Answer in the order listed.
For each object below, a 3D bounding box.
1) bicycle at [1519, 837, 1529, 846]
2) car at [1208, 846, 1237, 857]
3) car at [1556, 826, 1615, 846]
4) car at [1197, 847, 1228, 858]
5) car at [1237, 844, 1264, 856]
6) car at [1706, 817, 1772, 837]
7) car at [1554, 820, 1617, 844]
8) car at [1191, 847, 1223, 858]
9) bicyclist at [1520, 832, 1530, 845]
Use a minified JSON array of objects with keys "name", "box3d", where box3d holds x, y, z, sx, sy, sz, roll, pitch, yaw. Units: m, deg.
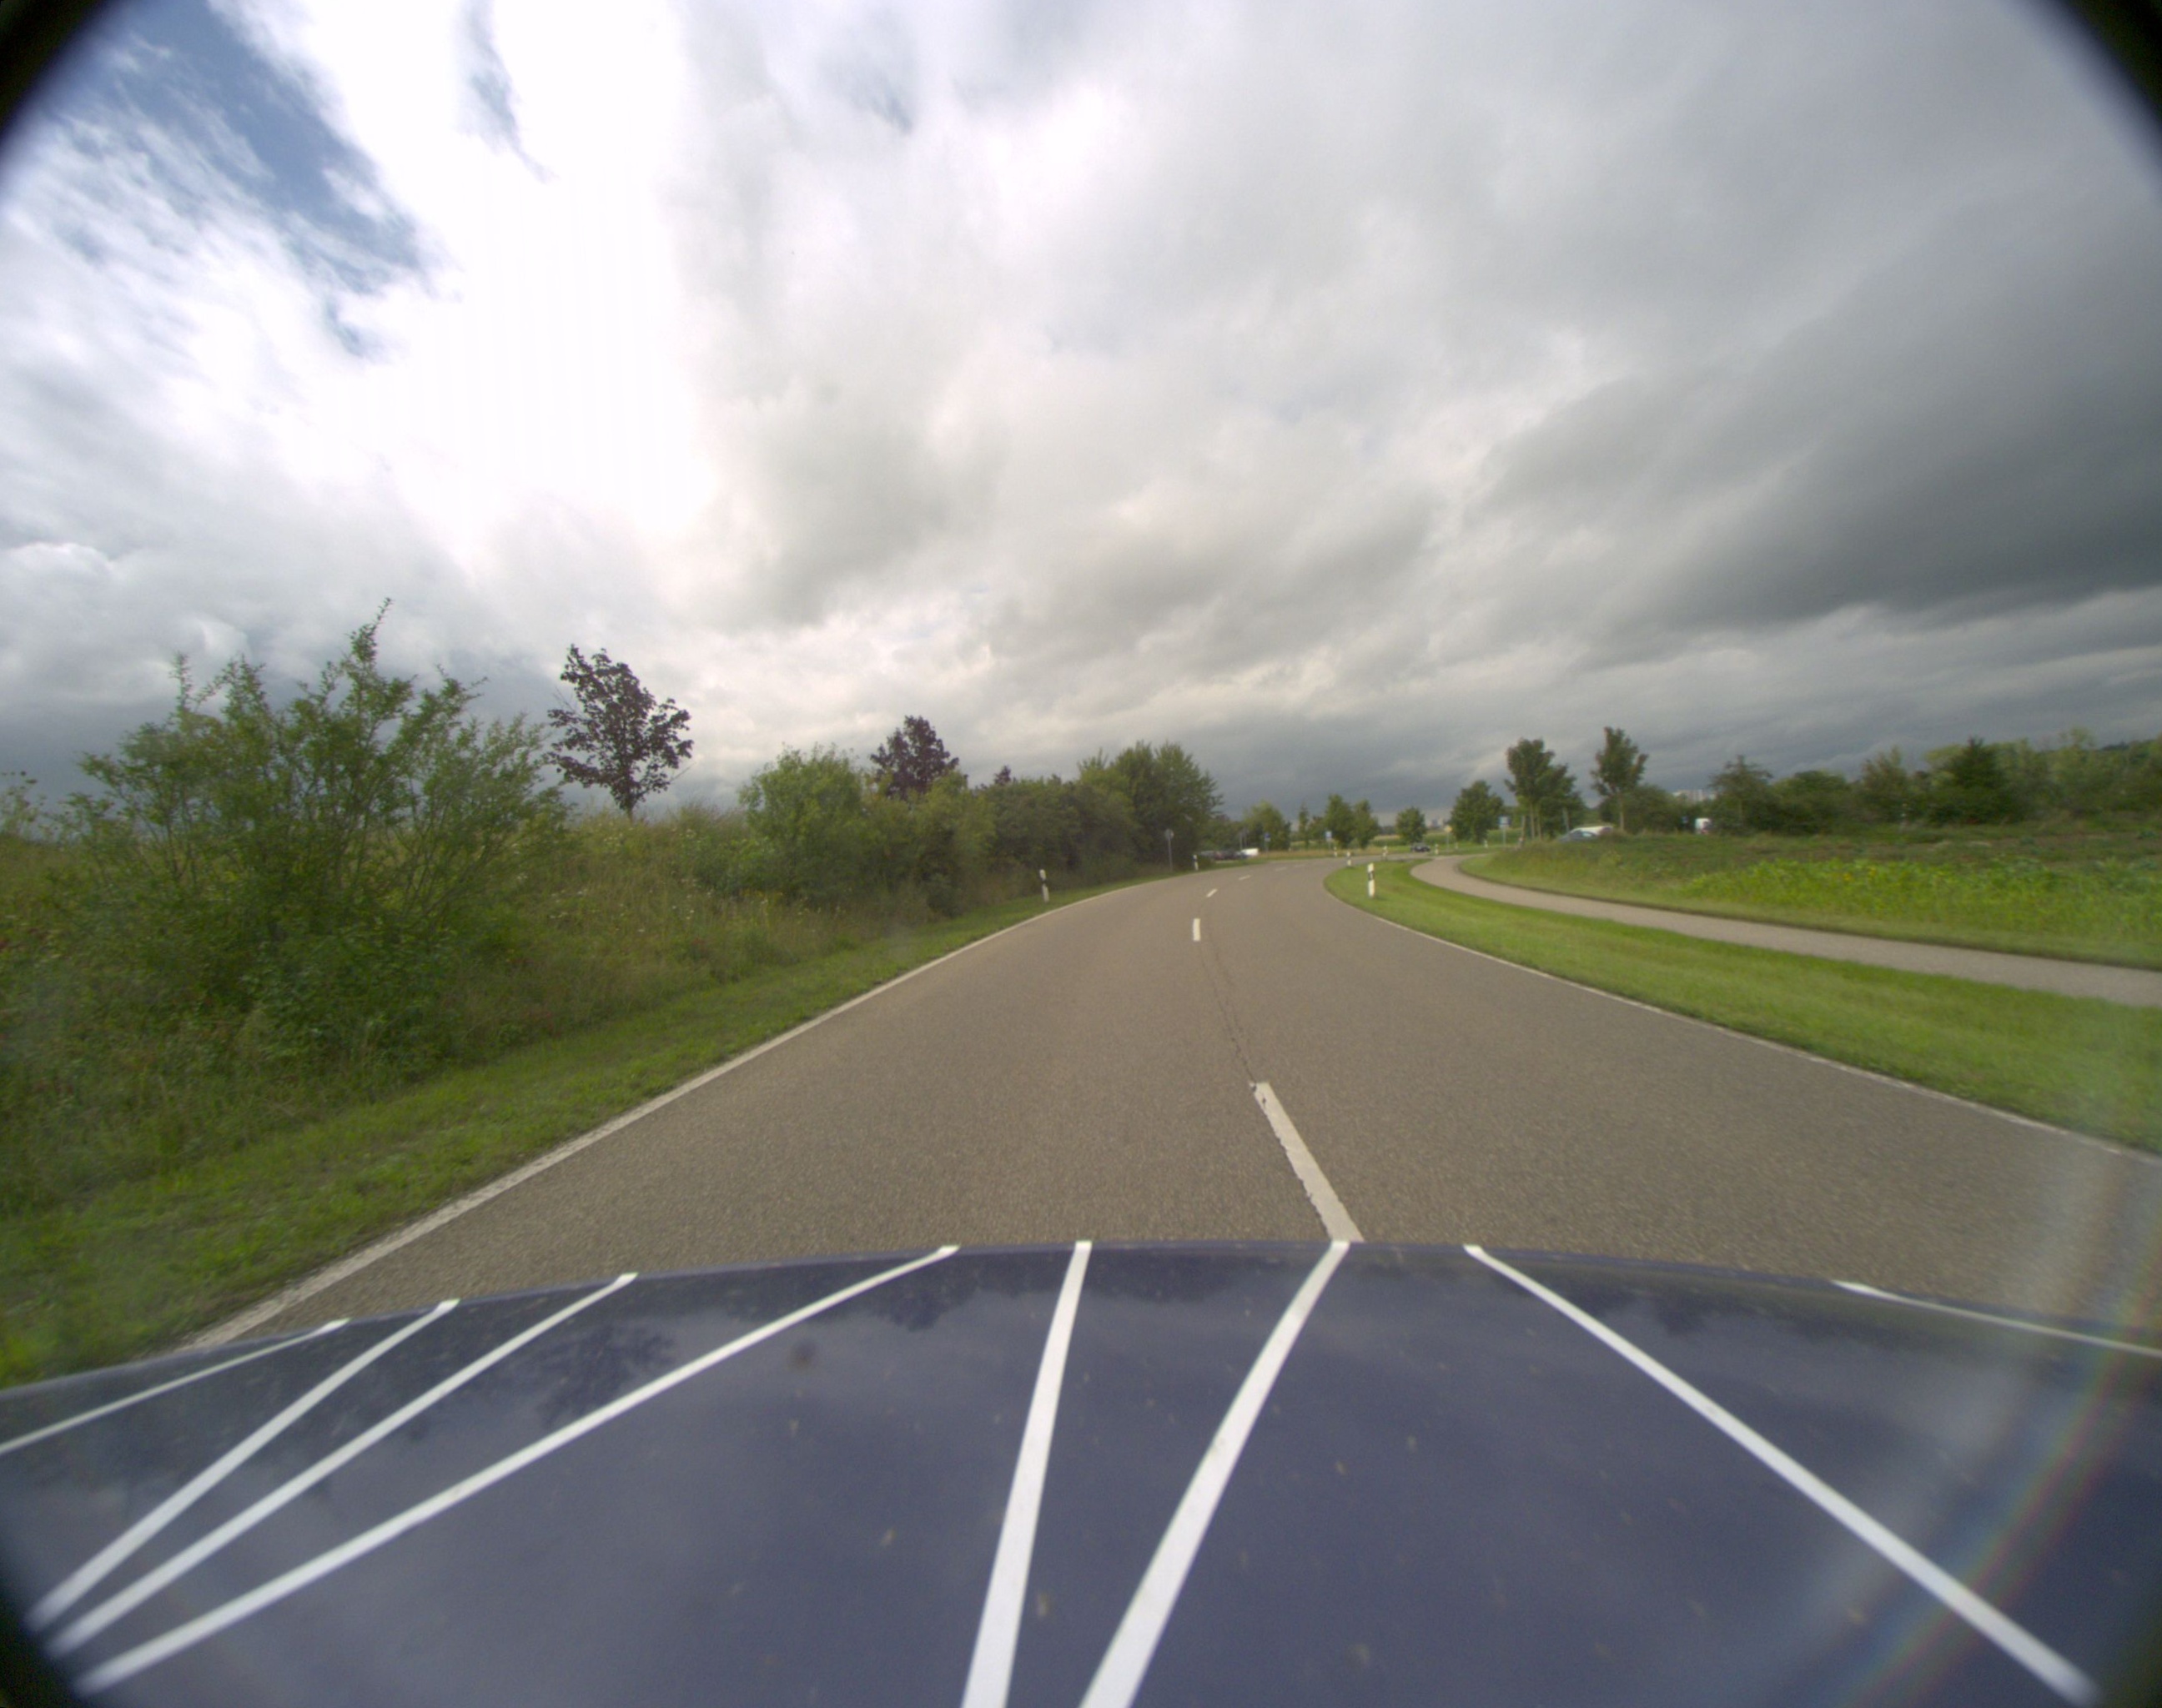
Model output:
[{"name":"bicycle","box3d":[52.955,-1.456,90.833,0.636,1.026,2.195,-2,1,40]},{"name":"car","box3d":[21.599,-0.342,115.721,3.991,1.488,2.003,-3,0,21]},{"name":"car","box3d":[45.567,-1.637,68.685,4.250,1.585,2.004,-3,0,38]},{"name":"car","box3d":[19.155,-0.222,110.551,4.000,1.496,2.055,-3,0,27]},{"name":"car","box3d":[28.743,-0.655,128.709,3.991,1.849,2.003,-3,0,25]},{"name":"car","box3d":[57.096,-2.306,66.050,3.990,1.379,1.845,-5,-1,31]},{"name":"car","box3d":[48.319,-2.098,72.829,4.897,2.002,2.060,-3,0,37]},{"name":"car","box3d":[17.809,-0.210,107.289,4.157,1.406,2.003,-3,0,21]},{"name":"bicyclist","box3d":[53.128,-1.889,90.964,0.831,1.557,1.057,-2,1,42]}]
